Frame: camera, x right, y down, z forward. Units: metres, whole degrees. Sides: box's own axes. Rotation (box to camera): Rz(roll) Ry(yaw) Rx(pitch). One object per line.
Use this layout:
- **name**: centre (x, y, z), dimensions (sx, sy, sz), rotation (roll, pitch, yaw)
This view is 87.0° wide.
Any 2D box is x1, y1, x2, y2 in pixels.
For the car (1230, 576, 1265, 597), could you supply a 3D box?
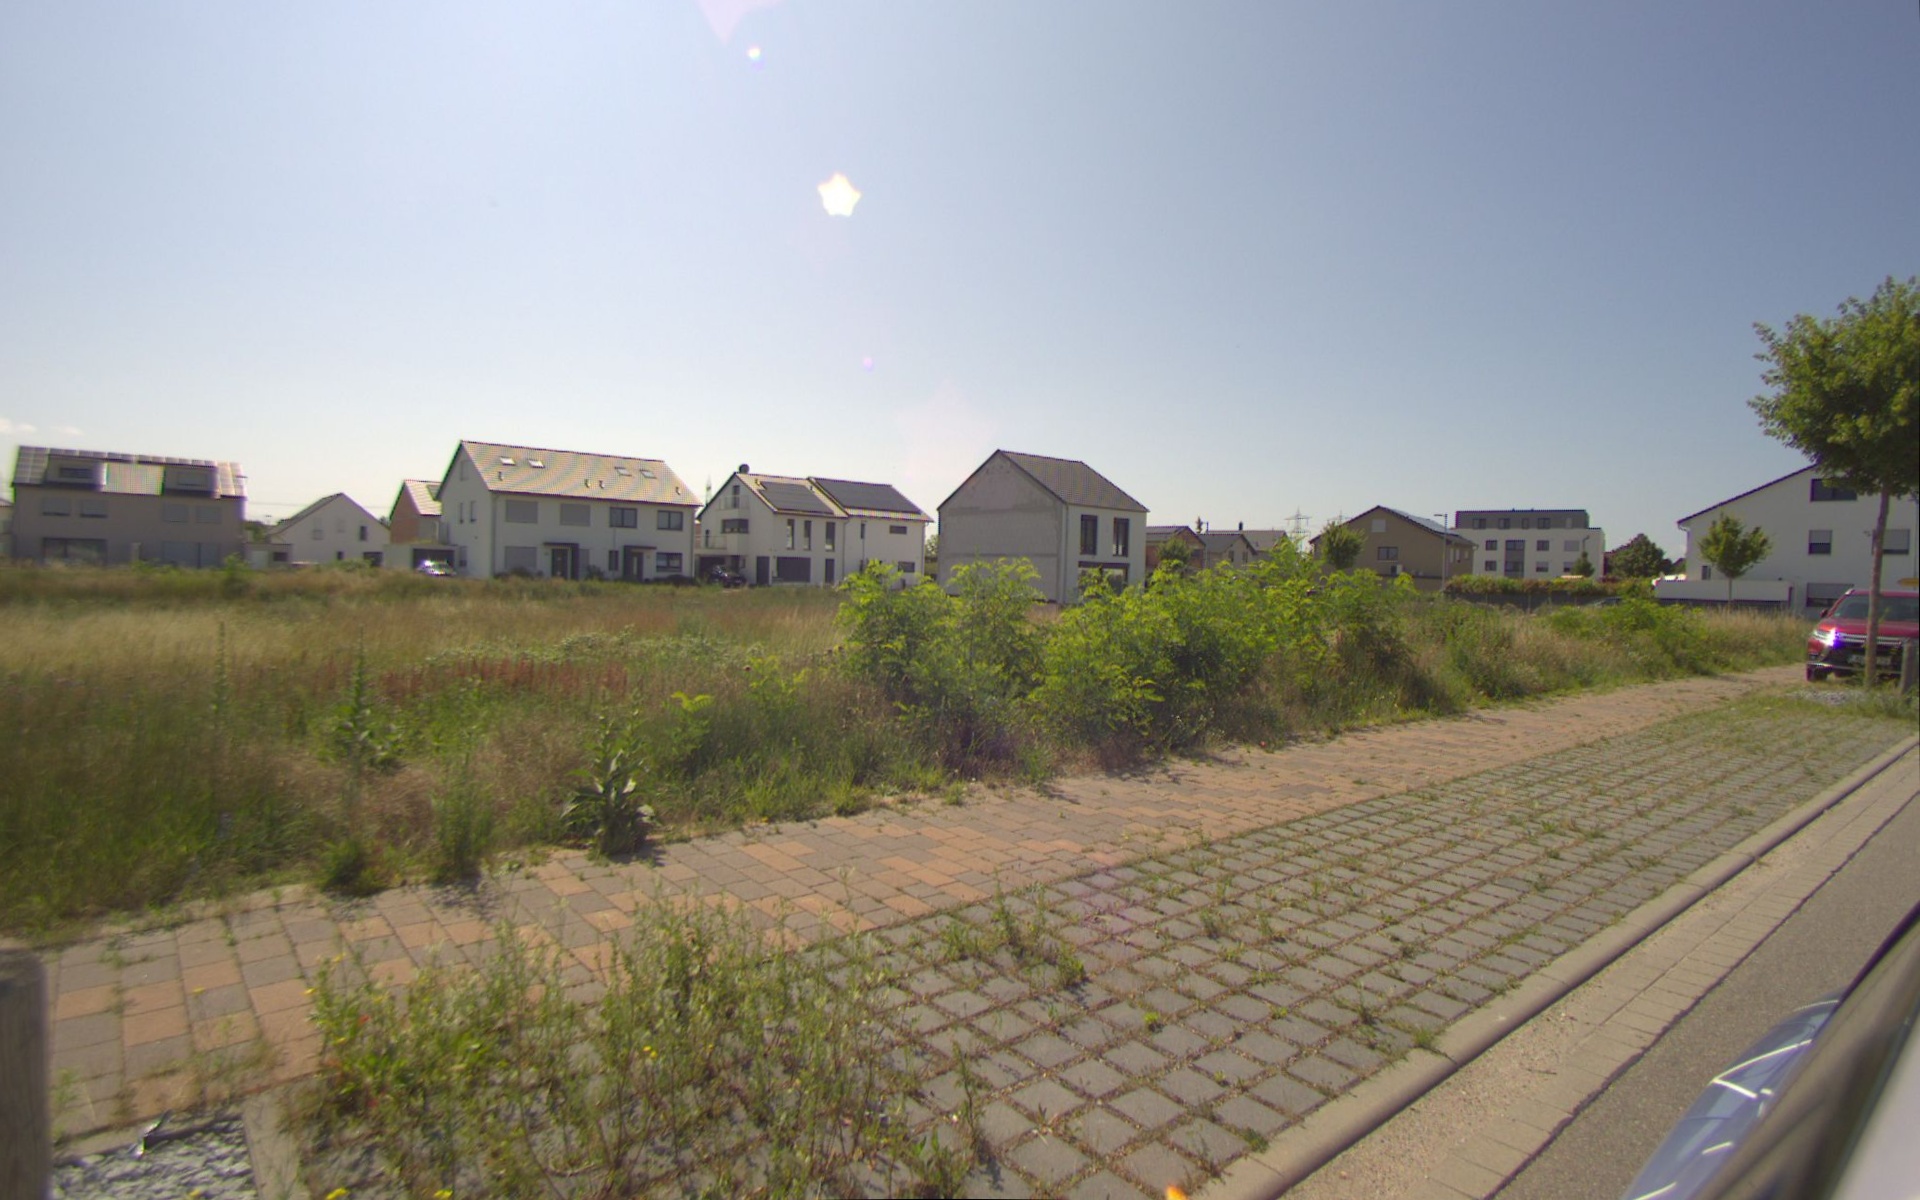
- **car**: centre (29.418, -1.343, 103.505), dimensions (1.992, 2.038, 3.941), rotation (3, 2, 41)

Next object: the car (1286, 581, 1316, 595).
- **car**: centre (38.258, -1.354, 113.536), dimensions (1.743, 1.521, 3.941), rotation (3, 2, 41)

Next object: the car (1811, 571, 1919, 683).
- **car**: centre (16.229, 0.438, 17.371), dimensions (4.356, 1.683, 1.780), rotation (1, 2, -41)

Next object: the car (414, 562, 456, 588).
- **car**: centre (-33.356, -1.622, 64.266), dimensions (1.781, 1.593, 3.999), rotation (0, 1, -36)

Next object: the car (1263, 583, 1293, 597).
- **car**: centre (34.147, -1.096, 108.767), dimensions (1.661, 1.418, 3.862), rotation (3, 2, 41)

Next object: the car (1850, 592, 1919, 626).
- **car**: centre (47.230, 0.473, 50.239), dimensions (1.926, 1.577, 4.344), rotation (1, 1, -42)

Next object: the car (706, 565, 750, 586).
- **car**: centre (-17.626, -1.882, 76.805), dimensions (1.781, 1.531, 3.999), rotation (0, 1, -36)
